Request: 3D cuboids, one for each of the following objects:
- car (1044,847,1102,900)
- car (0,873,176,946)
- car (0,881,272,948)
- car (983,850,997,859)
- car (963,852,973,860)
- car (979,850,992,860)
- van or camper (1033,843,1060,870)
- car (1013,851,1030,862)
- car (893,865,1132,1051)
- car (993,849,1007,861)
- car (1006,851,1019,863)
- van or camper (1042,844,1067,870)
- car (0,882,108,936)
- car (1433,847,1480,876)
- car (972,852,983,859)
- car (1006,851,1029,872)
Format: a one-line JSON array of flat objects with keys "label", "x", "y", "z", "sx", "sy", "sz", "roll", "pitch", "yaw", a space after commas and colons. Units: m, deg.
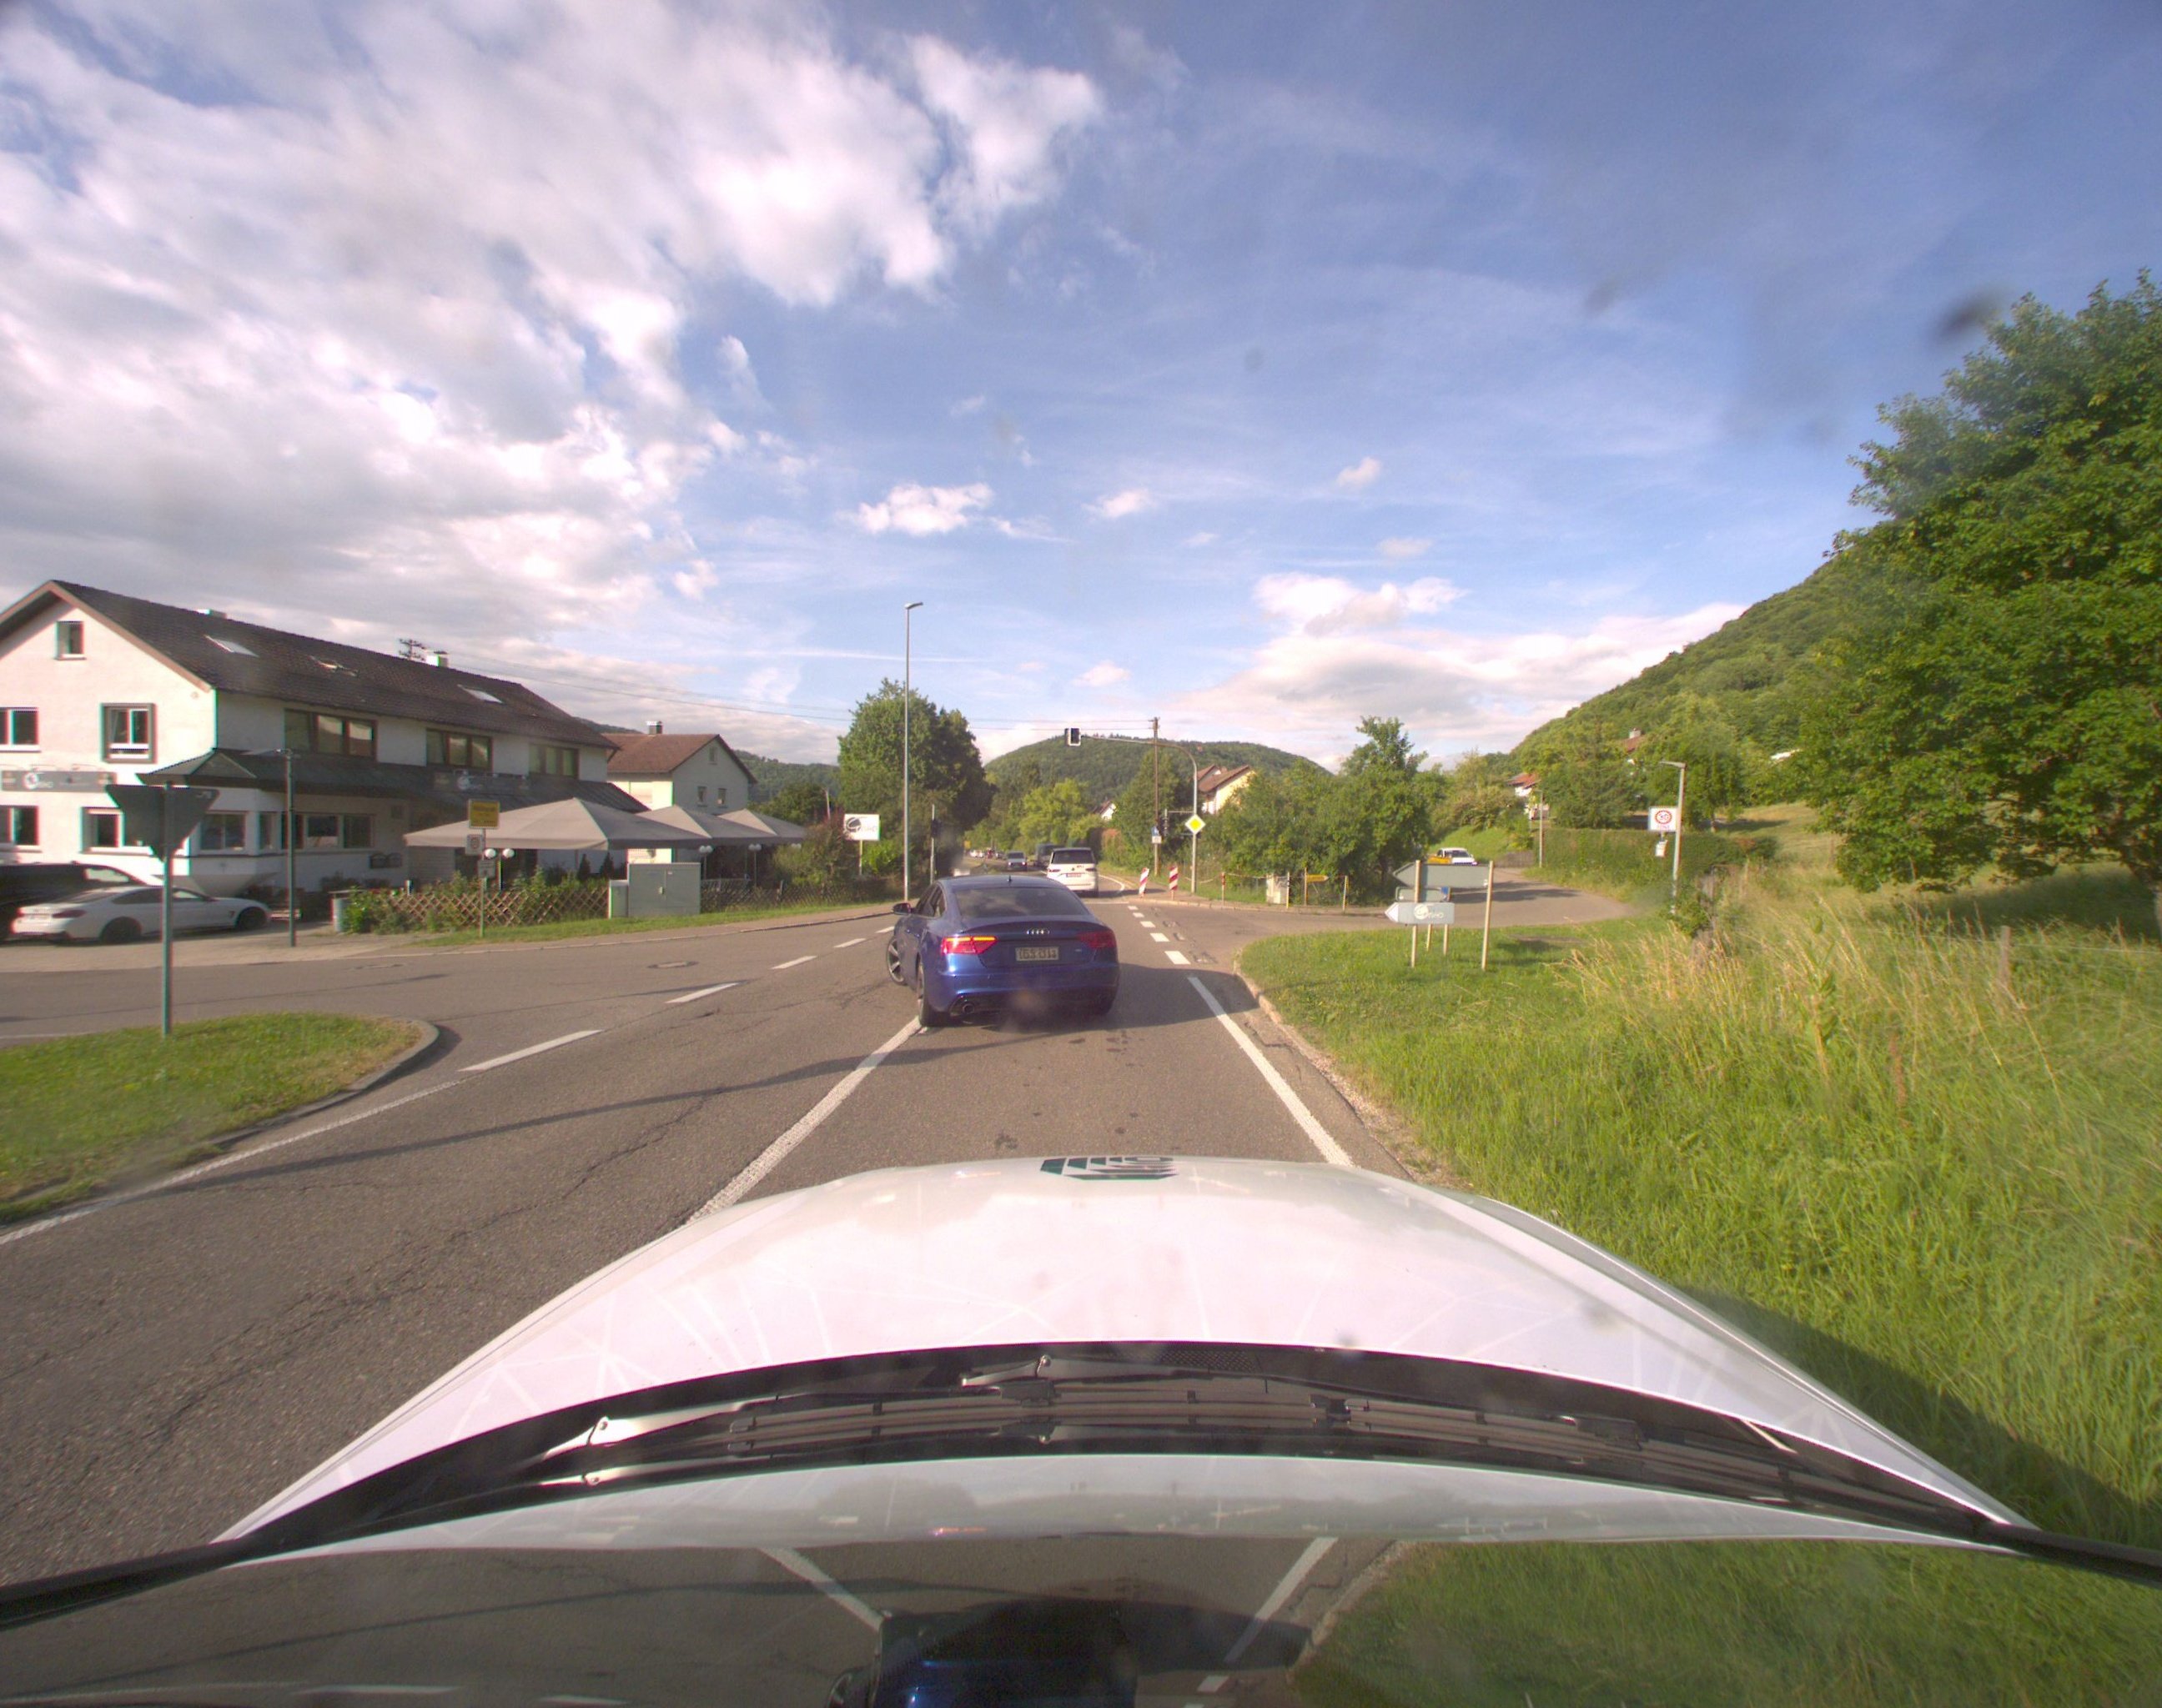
[{"label": "car", "x": -0.396, "y": 0.713, "z": 32.291, "sx": 1.989, "sy": 1.876, "sz": 4.865, "roll": 1, "pitch": 1, "yaw": -4}, {"label": "car", "x": -27.330, "y": 1.433, "z": 21.293, "sx": 1.984, "sy": 1.685, "sz": 4.582, "roll": -2, "pitch": 0, "yaw": 5}, {"label": "car", "x": -24.646, "y": 1.504, "z": 21.378, "sx": 1.984, "sy": 1.389, "sz": 4.582, "roll": -2, "pitch": 0, "yaw": 5}, {"label": "car", "x": -16.624, "y": 0.109, "z": 148.296, "sx": 2.043, "sy": 1.684, "sz": 3.982, "roll": 0, "pitch": 0, "yaw": -13}, {"label": "car", "x": -24.712, "y": 0.391, "z": 178.273, "sx": 1.774, "sy": 1.783, "sz": 3.981, "roll": -1, "pitch": 0, "yaw": -13}, {"label": "car", "x": -18.430, "y": 0.194, "z": 156.960, "sx": 1.944, "sy": 1.684, "sz": 3.982, "roll": -2, "pitch": 0, "yaw": -13}, {"label": "van or camper", "x": -3.984, "y": 0.246, "z": 92.372, "sx": 2.414, "sy": 2.904, "sz": 6.114, "roll": -1, "pitch": 0, "yaw": -8}, {"label": "car", "x": -8.571, "y": 0.342, "z": 117.199, "sx": 1.820, "sy": 1.552, "sz": 3.984, "roll": -1, "pitch": 0, "yaw": -11}, {"label": "car", "x": -0.997, "y": 0.860, "z": 8.781, "sx": 1.833, "sy": 1.409, "sz": 4.205, "roll": -2, "pitch": 0, "yaw": -15}, {"label": "car", "x": -13.937, "y": 0.202, "z": 139.817, "sx": 1.995, "sy": 2.013, "sz": 3.983, "roll": -1, "pitch": 0, "yaw": -12}, {"label": "car", "x": -10.880, "y": 0.413, "z": 128.675, "sx": 1.796, "sy": 1.793, "sz": 3.987, "roll": 0, "pitch": 1, "yaw": -9}, {"label": "van or camper", "x": -2.571, "y": 0.287, "z": 78.230, "sx": 2.176, "sy": 2.385, "sz": 5.362, "roll": -1, "pitch": 0, "yaw": -4}, {"label": "car", "x": -30.392, "y": 1.564, "z": 22.227, "sx": 1.984, "sy": 1.389, "sz": 4.582, "roll": -2, "pitch": 0, "yaw": 5}, {"label": "car", "x": 22.255, "y": 0.432, "z": 48.414, "sx": 1.853, "sy": 1.610, "sz": 4.591, "roll": 0, "pitch": 1, "yaw": 16}, {"label": "car", "x": -21.105, "y": 0.331, "z": 165.927, "sx": 1.944, "sy": 1.424, "sz": 3.982, "roll": -1, "pitch": 0, "yaw": -13}, {"label": "car", "x": -5.946, "y": 0.662, "z": 76.258, "sx": 1.991, "sy": 1.904, "sz": 5.243, "roll": -2, "pitch": 0, "yaw": -5}]
